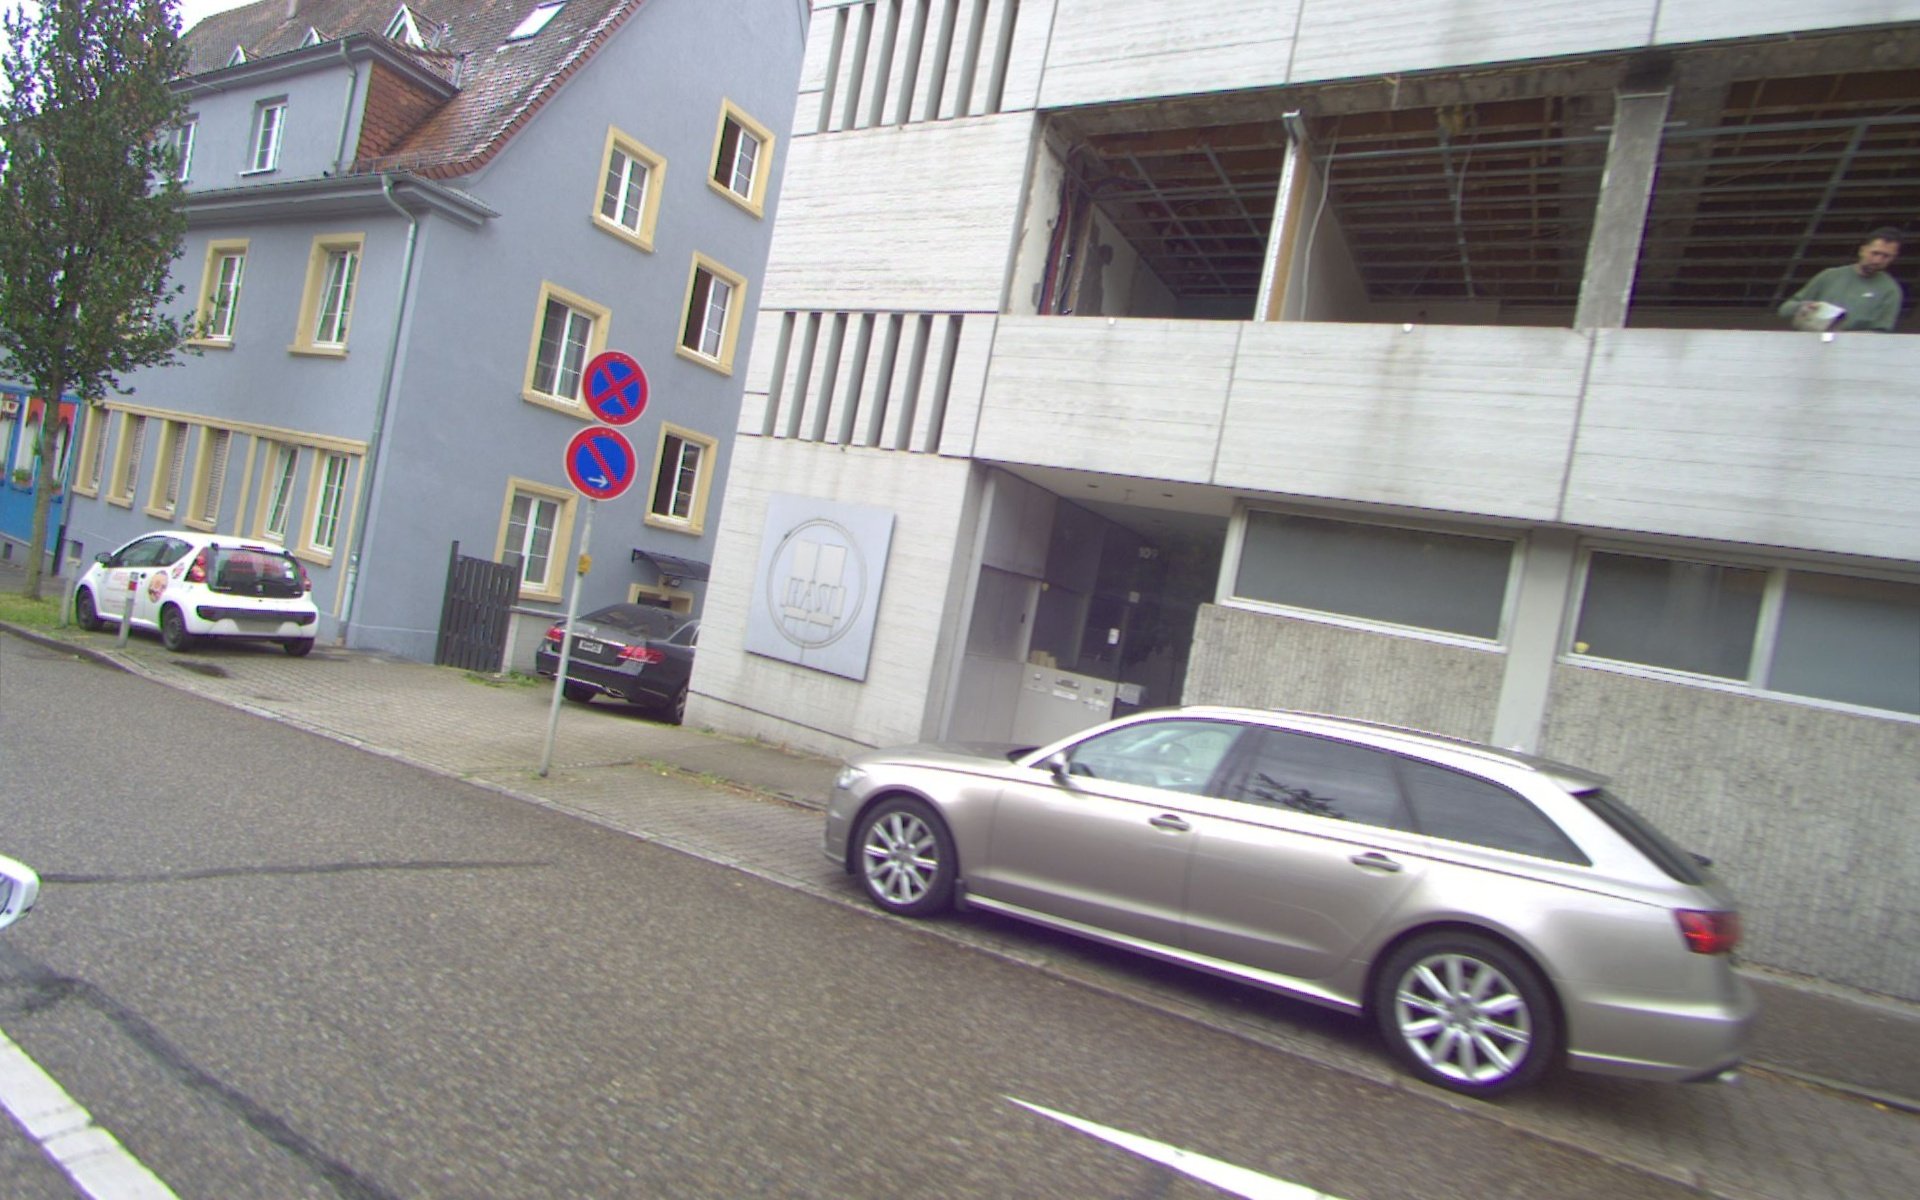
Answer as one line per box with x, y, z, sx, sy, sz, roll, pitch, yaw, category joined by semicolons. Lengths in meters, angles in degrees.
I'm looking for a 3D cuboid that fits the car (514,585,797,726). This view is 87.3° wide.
-4.035;0.918;14.268;1.774;1.420;4.382;8;-6;13;car

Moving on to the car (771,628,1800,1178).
1.417;1.239;5.640;4.661;1.476;1.819;7;-2;30;car

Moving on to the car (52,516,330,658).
-10.297;-0.182;13.452;3.396;1.429;1.590;7;0;28;car
